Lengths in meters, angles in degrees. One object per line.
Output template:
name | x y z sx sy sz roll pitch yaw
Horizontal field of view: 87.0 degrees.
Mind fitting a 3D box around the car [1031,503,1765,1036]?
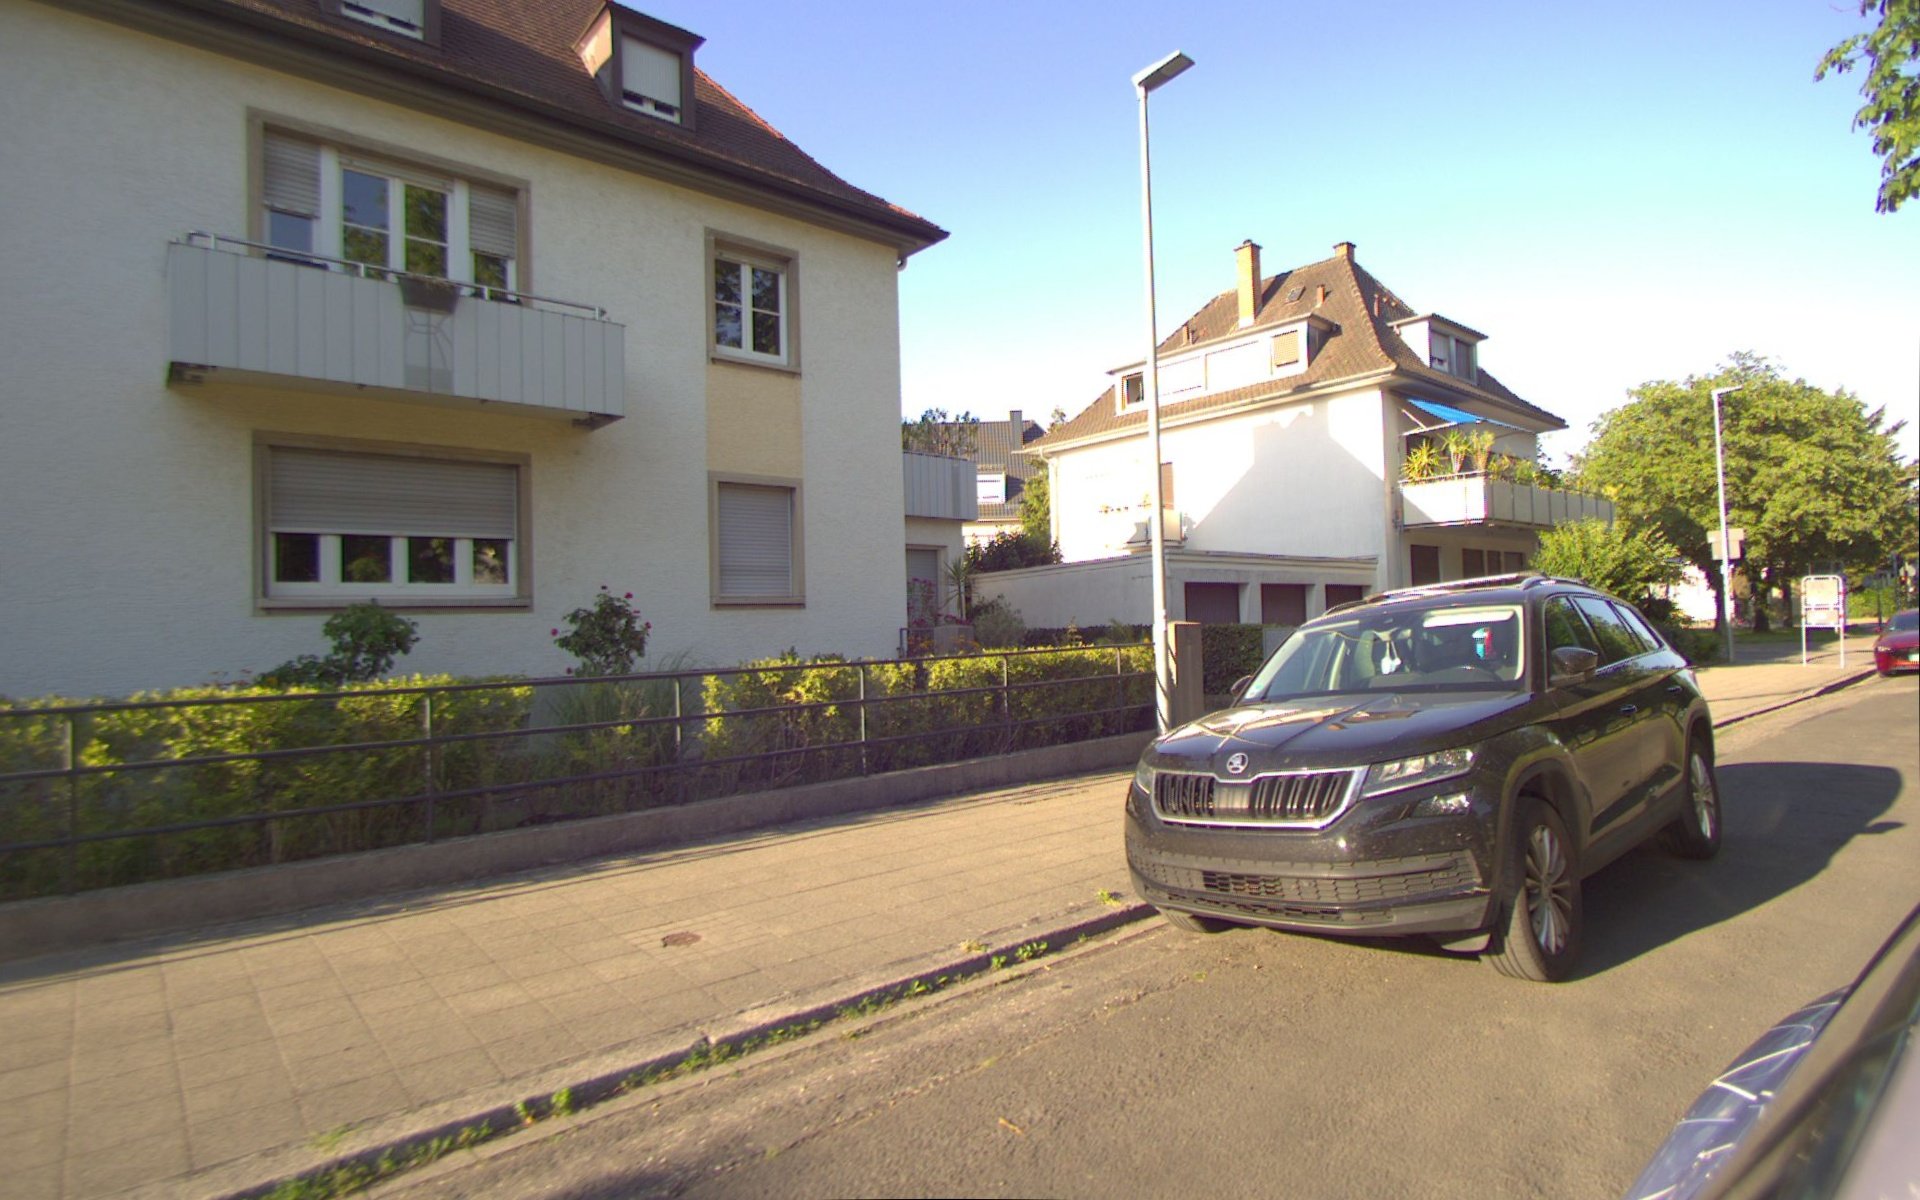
car | 2.642 0.634 5.508 4.392 1.743 1.858 -1 -7 -43

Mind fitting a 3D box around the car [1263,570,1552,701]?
car | 7.500 0.613 17.213 1.967 1.953 3.989 0 -3 -44

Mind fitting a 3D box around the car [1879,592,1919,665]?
car | 21.956 0.566 22.472 4.152 1.514 1.822 -1 -2 -42
